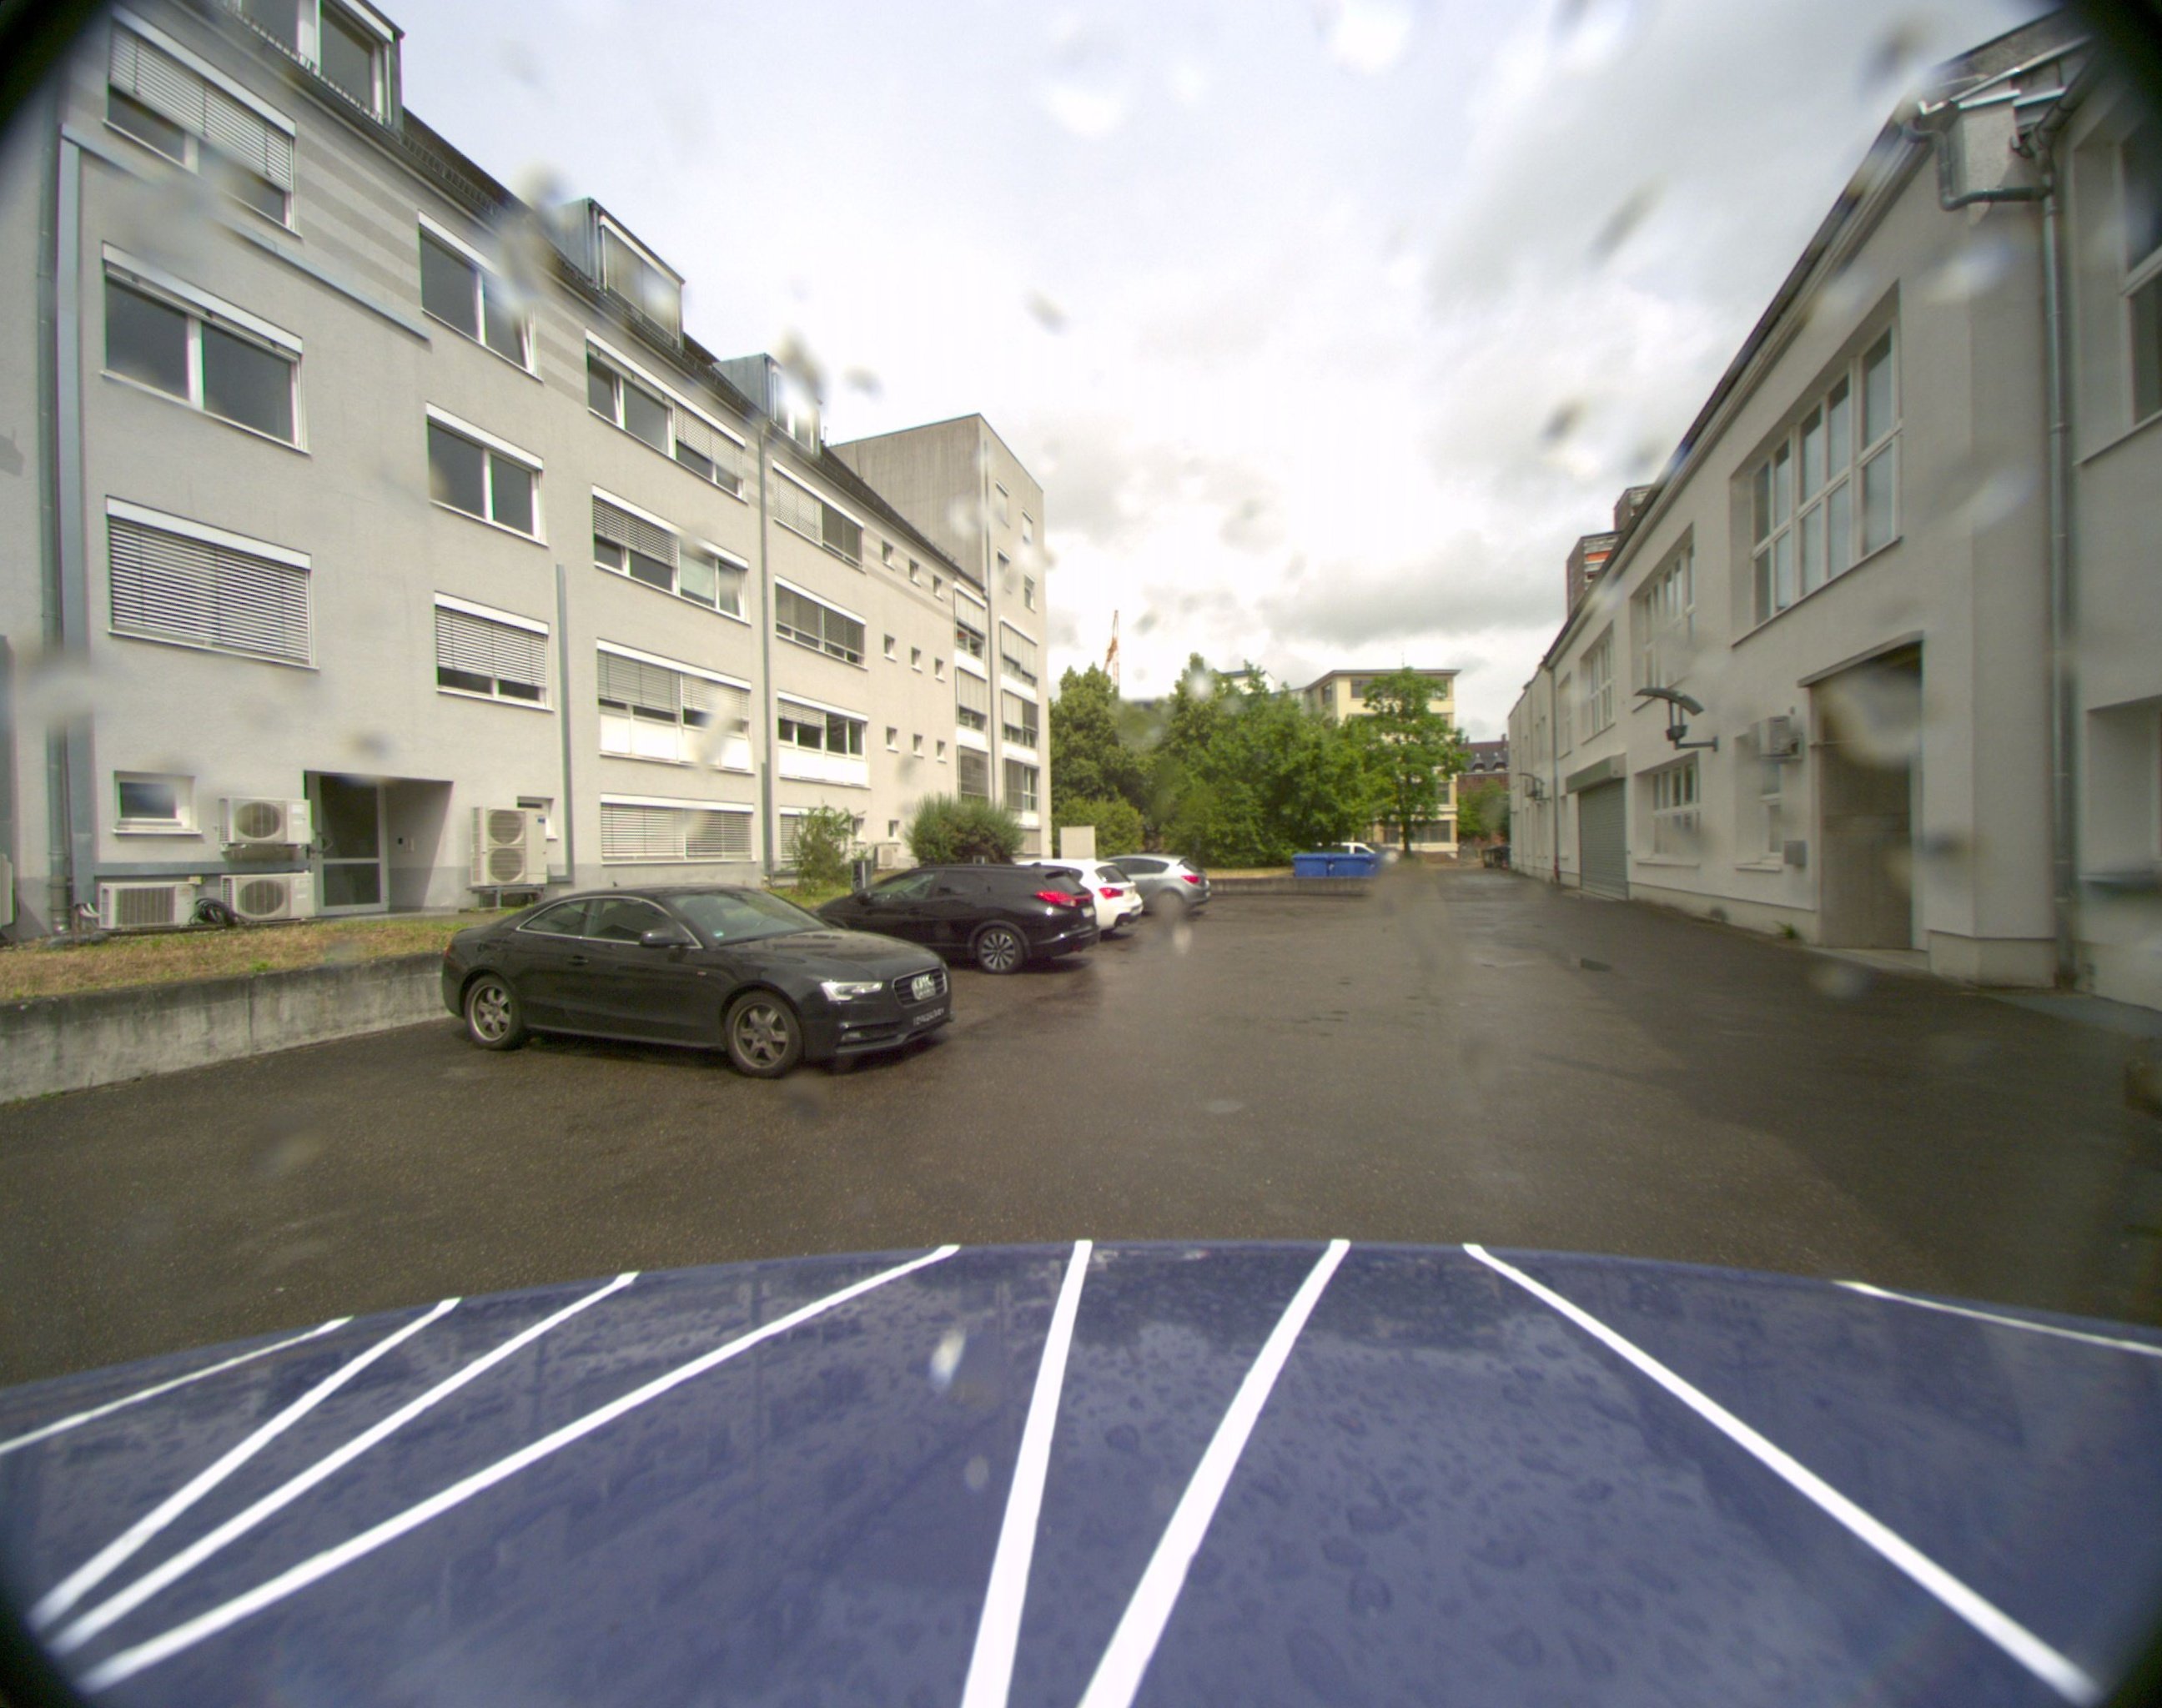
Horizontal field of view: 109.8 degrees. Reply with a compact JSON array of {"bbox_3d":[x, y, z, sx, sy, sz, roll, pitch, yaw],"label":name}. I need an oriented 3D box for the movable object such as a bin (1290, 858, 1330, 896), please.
[{"bbox_3d":[8.033,0.789,26.636,1.230,1.310,1.057,-1,0,24],"label":"movable object such as a bin"}]

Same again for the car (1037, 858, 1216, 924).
[{"bbox_3d":[1.145,0.873,18.863,4.084,1.450,1.670,-1,2,21],"label":"car"}]

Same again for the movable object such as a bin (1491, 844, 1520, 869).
[{"bbox_3d":[26.463,0.168,47.383,1.361,1.462,1.368,-3,-1,24],"label":"movable object such as a bin"}]

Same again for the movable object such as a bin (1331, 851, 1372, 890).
[{"bbox_3d":[9.287,0.570,26.095,1.230,1.310,1.057,-1,0,24],"label":"movable object such as a bin"}]

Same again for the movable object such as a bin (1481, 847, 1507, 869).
[{"bbox_3d":[28.885,0.260,53.145,1.410,1.462,1.563,-3,-1,24],"label":"movable object such as a bin"}]

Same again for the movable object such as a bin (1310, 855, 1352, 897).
[{"bbox_3d":[9.114,0.786,27.686,1.276,1.474,1.103,-3,-1,24],"label":"movable object such as a bin"}]

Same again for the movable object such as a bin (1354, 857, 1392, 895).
[{"bbox_3d":[10.572,0.774,27.533,1.175,1.309,1.057,-3,-1,24],"label":"movable object such as a bin"}]

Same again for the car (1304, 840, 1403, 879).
[{"bbox_3d":[15.182,0.305,42.391,4.940,2.002,2.003,-2,1,28],"label":"car"}]

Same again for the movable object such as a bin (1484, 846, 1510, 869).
[{"bbox_3d":[28.208,0.242,51.578,1.361,1.462,1.467,-3,-1,24],"label":"movable object such as a bin"}]

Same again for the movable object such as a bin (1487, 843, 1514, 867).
[{"bbox_3d":[27.039,0.054,49.026,1.361,1.462,1.368,-3,-1,24],"label":"movable object such as a bin"}]

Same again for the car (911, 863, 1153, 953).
[{"bbox_3d":[-0.893,0.926,14.206,4.102,1.447,1.835,0,1,20],"label":"car"}]

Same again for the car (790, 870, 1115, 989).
[{"bbox_3d":[-1.793,0.980,11.000,4.175,1.393,1.942,-1,1,18],"label":"car"}]

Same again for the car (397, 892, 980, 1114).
[{"bbox_3d":[-3.264,1.051,6.496,4.358,1.341,1.863,-1,0,18],"label":"car"}]
